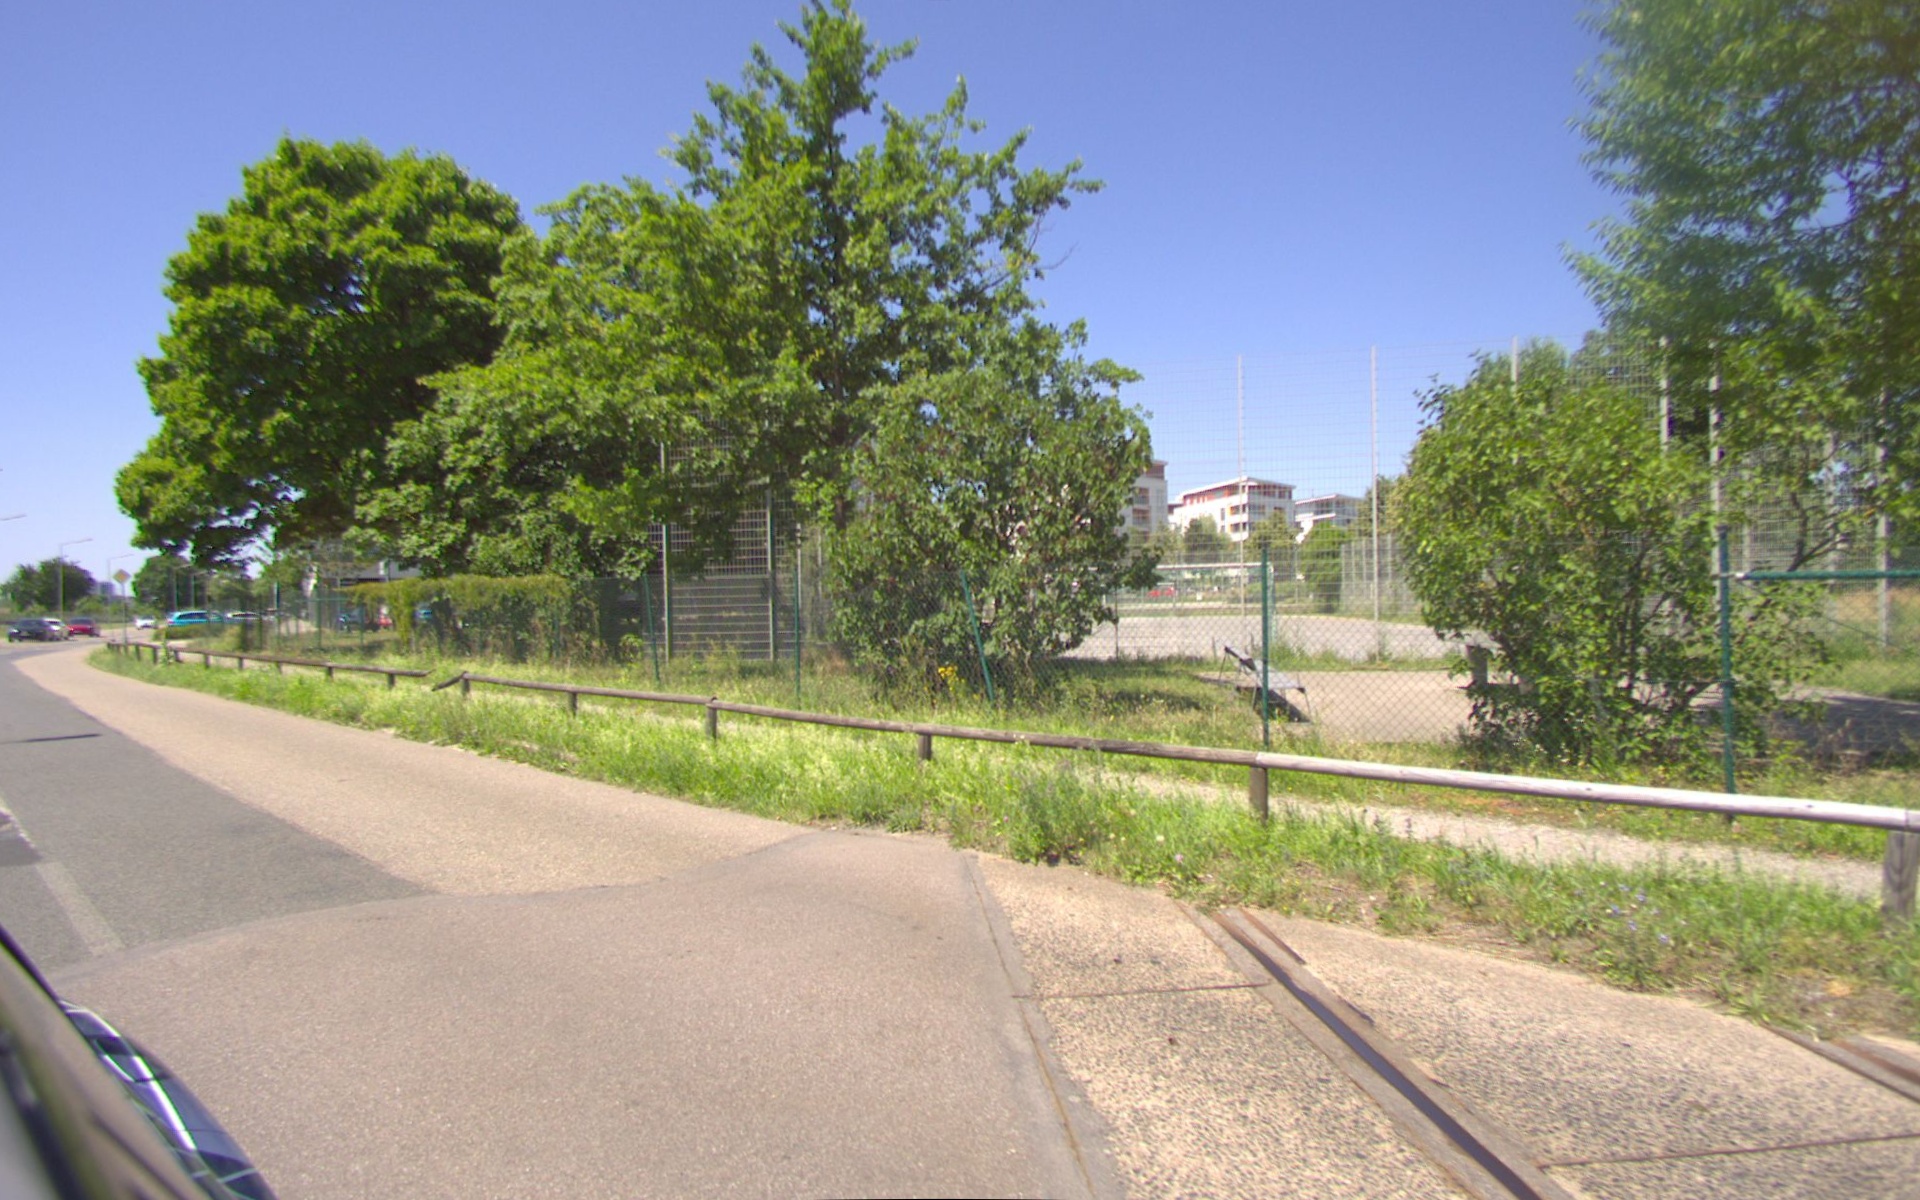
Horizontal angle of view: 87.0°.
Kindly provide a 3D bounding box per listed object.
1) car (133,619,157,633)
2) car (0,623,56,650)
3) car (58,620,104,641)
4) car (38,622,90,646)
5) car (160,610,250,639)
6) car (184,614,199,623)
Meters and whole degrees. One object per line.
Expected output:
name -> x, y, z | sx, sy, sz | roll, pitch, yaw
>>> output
car -> -91.986, 2.872, 114.291 | 1.627, 1.477, 3.877 | -1, 0, -32
car -> -57.728, 2.236, 62.657 | 1.626, 1.477, 3.879 | -1, 0, -27
car -> -67.224, 2.334, 77.473 | 1.626, 1.477, 3.879 | -1, 0, -25
car -> -60.428, 2.256, 68.302 | 1.626, 1.478, 3.879 | -1, 0, -25
car -> -43.843, 1.399, 58.898 | 3.931, 1.563, 1.897 | -2, 0, -29
car -> -132.220, 3.176, 174.161 | 1.627, 1.477, 3.877 | -1, 0, -32
